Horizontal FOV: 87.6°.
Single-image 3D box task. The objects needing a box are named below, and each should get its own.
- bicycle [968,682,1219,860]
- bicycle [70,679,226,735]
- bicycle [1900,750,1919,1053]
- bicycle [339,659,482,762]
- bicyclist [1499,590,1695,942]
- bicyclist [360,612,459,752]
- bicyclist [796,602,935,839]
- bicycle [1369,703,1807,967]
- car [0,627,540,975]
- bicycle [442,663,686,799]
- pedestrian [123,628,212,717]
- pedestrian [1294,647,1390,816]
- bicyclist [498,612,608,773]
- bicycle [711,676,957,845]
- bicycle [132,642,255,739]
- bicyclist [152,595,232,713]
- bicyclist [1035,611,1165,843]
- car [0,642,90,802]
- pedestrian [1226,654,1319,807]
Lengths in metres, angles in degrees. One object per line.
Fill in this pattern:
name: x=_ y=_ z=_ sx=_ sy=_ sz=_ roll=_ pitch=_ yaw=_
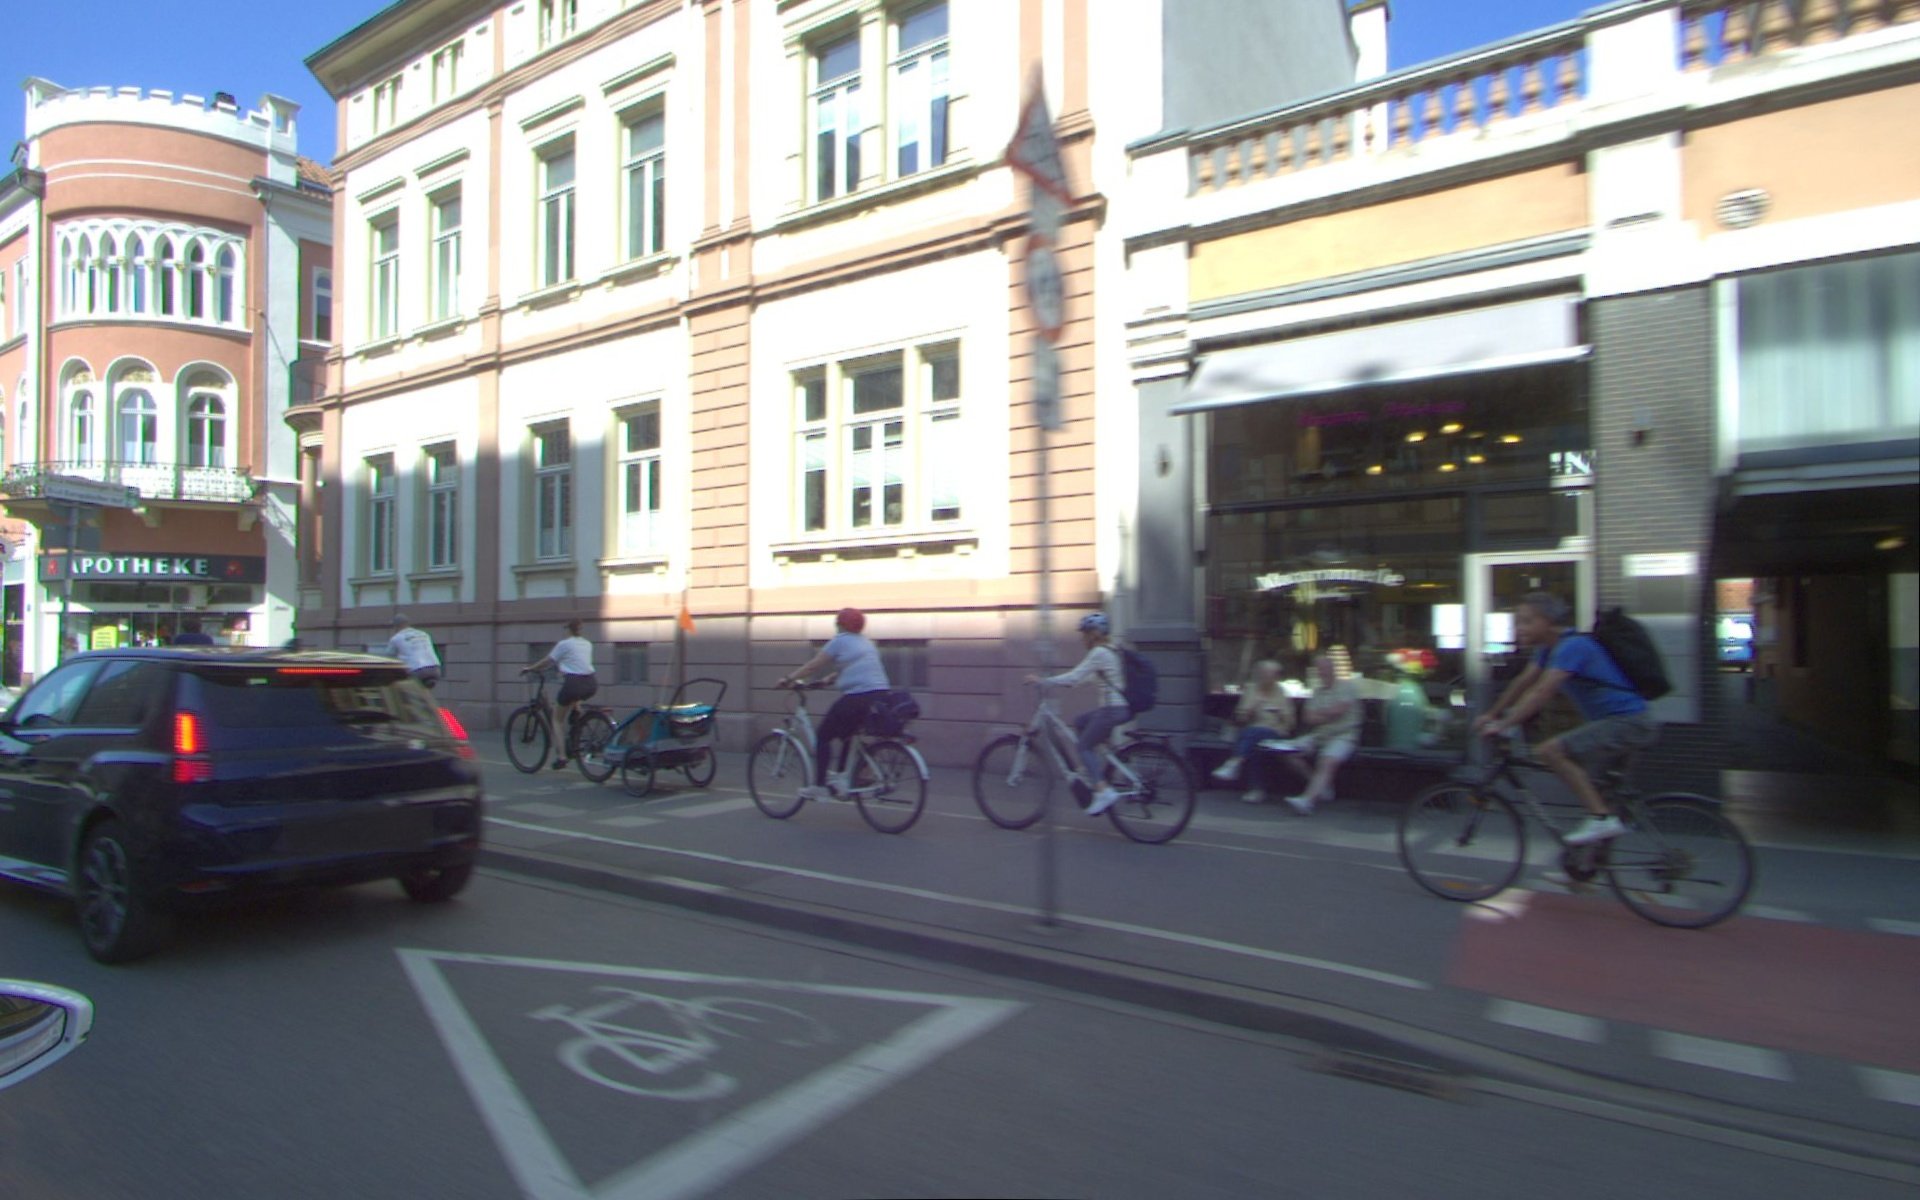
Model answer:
bicycle: x=0.991 y=1.241 z=7.686 sx=1.834 sy=1.141 sz=0.604 roll=-1 pitch=-1 yaw=34
bicycle: x=-17.515 y=2.295 z=21.665 sx=2.549 sy=1.140 sz=0.623 roll=5 pitch=-7 yaw=-43
bicycle: x=4.675 y=1.143 z=3.043 sx=2.538 sy=1.141 sz=0.739 roll=-2 pitch=-1 yaw=34
bicycle: x=-6.949 y=1.352 z=12.637 sx=2.045 sy=1.142 sz=0.570 roll=0 pitch=0 yaw=28
bicyclist: x=3.500 y=0.841 z=5.543 sx=0.833 sy=1.739 sz=0.837 roll=-1 pitch=-1 yaw=33
bicyclist: x=-6.946 y=0.996 z=12.633 sx=1.141 sy=1.683 sz=0.570 roll=0 pitch=0 yaw=28
bicyclist: x=-0.737 y=0.909 z=7.870 sx=0.833 sy=1.738 sz=0.681 roll=-1 pitch=-3 yaw=33
bicycle: x=3.390 y=1.201 z=5.589 sx=1.964 sy=1.132 sz=0.661 roll=-1 pitch=-2 yaw=34
car: x=-4.820 y=1.009 z=6.308 sx=4.229 sy=1.509 sz=1.885 roll=-2 pitch=-5 yaw=32
bicycle: x=-4.271 y=1.303 z=10.613 sx=3.195 sy=1.142 sz=0.746 roll=0 pitch=0 yaw=34
pedestrian: x=-15.290 y=1.392 z=19.331 sx=0.958 sy=1.632 sz=0.902 roll=-3 pitch=-2 yaw=11
pedestrian: x=3.411 y=1.118 z=8.900 sx=0.616 sy=1.334 sz=1.084 roll=0 pitch=1 yaw=31
bicyclist: x=-4.319 y=0.937 z=10.631 sx=0.832 sy=1.595 sz=0.744 roll=2 pitch=2 yaw=33
bicycle: x=-1.059 y=1.232 z=8.158 sx=2.006 sy=1.141 sz=0.733 roll=-1 pitch=-1 yaw=34
bicycle: x=-11.386 y=1.304 z=14.852 sx=2.250 sy=1.284 sz=0.731 roll=0 pitch=-3 yaw=34
bicyclist: x=-11.385 y=0.793 z=14.842 sx=0.764 sy=1.695 sz=0.729 roll=-1 pitch=-1 yaw=34
bicyclist: x=1.064 y=0.926 z=7.612 sx=0.833 sy=1.657 sz=0.514 roll=-1 pitch=-1 yaw=33
car: x=-10.916 y=1.107 z=10.003 sx=4.815 sy=1.442 sz=1.951 roll=-1 pitch=-4 yaw=31
pedestrian: x=2.961 y=1.183 z=9.447 sx=0.616 sy=1.333 sz=1.028 roll=0 pitch=-1 yaw=31
